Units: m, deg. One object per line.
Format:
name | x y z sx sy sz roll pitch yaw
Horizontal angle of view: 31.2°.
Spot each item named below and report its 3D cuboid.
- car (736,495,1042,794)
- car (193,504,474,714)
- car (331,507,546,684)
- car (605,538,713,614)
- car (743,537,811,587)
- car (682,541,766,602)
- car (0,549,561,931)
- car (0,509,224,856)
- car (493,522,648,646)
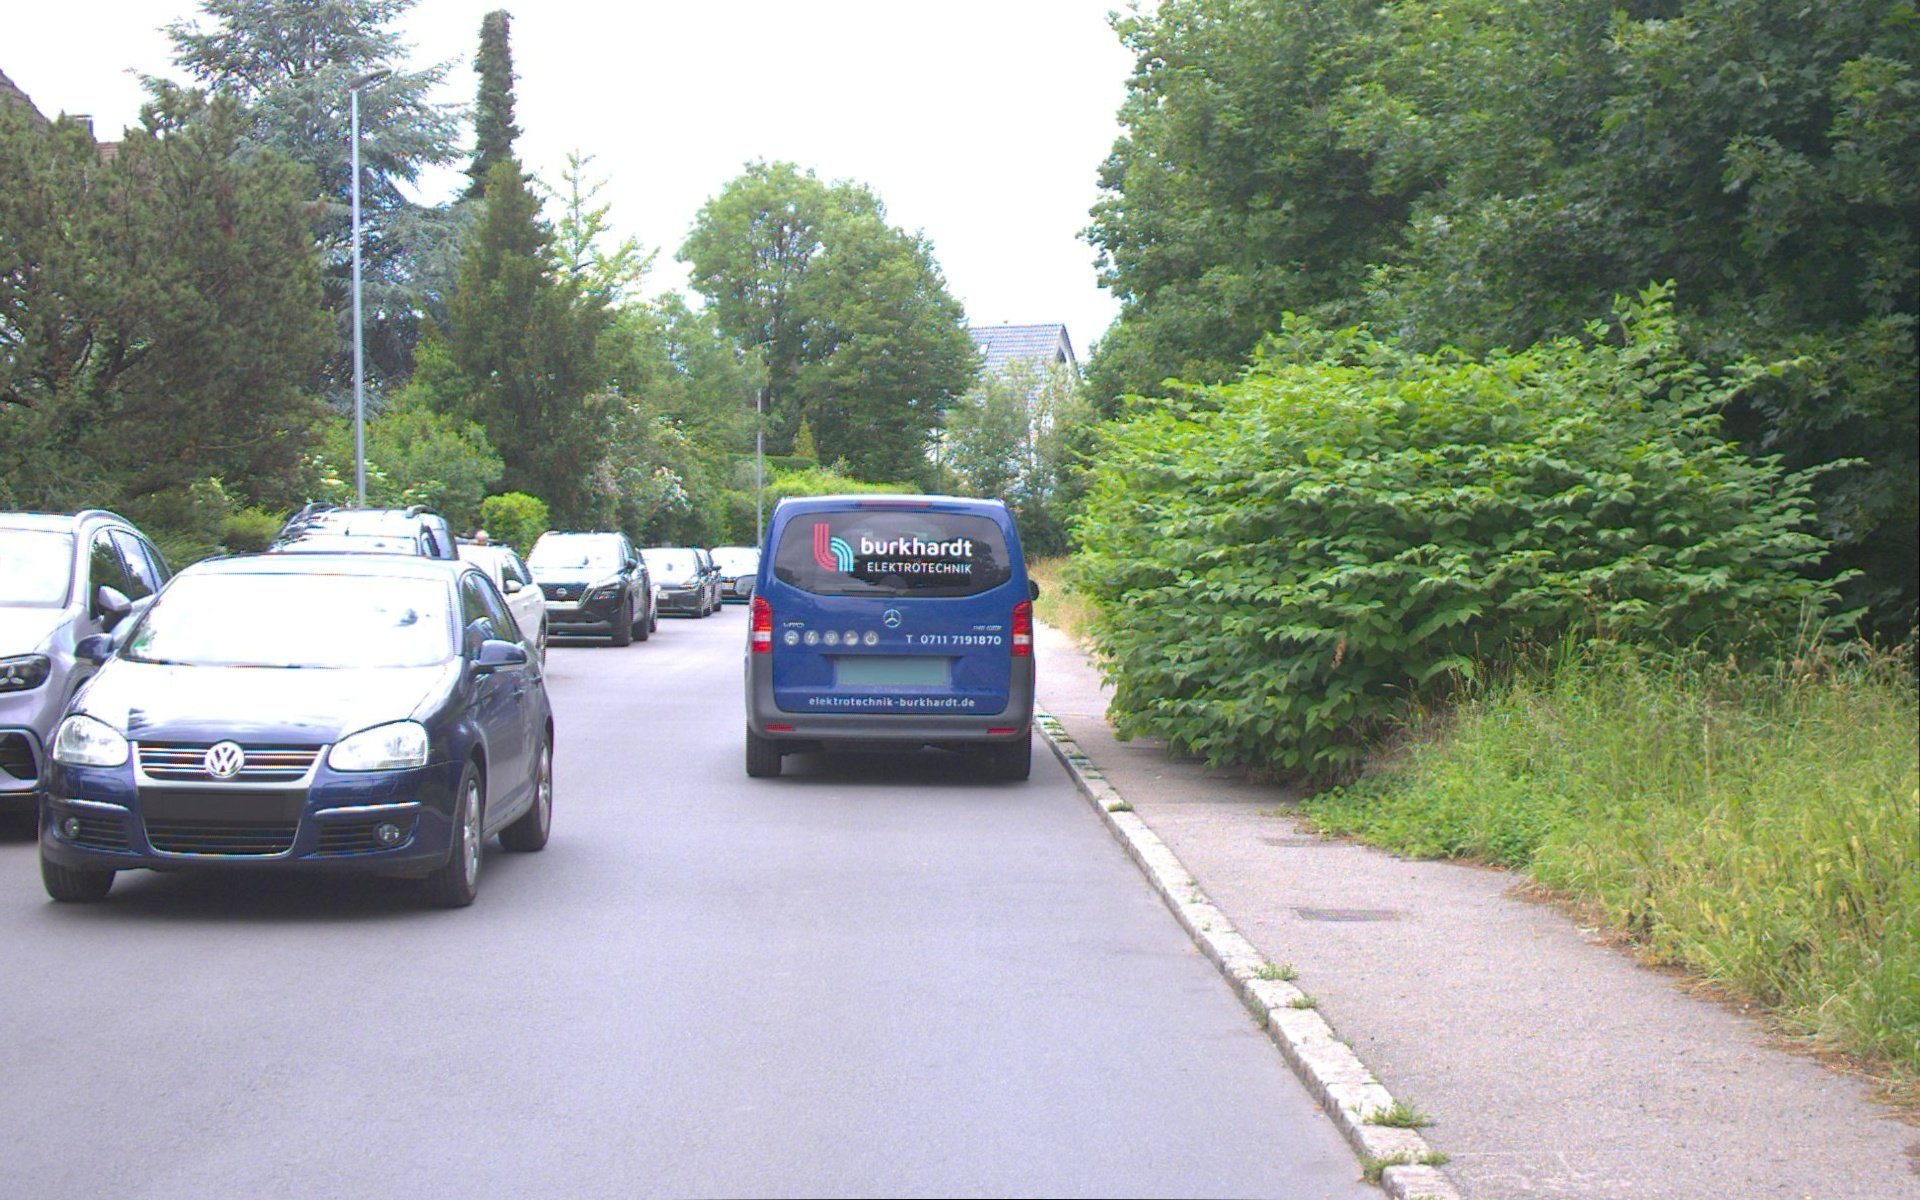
car | -0.527 0.218 23.521 1.888 1.837 4.001 1 2 -2
car | -5.588 0.026 31.124 1.832 1.745 4.000 1 1 -1
car | -5.594 -0.055 37.292 1.831 1.798 4.000 1 0 -2
car | -6.246 -0.530 71.729 1.928 1.408 3.963 1 2 -1
car | -5.702 -1.203 107.590 1.928 1.408 3.963 1 2 -1
car | -6.073 -0.750 88.956 1.928 1.408 3.963 1 2 -1
car | -2.912 0.514 15.324 1.819 1.438 4.000 1 1 -1
car | -5.270 0.333 18.227 1.836 1.625 4.301 1 1 -1
car | -5.926 -0.281 52.767 1.892 1.686 4.550 1 2 -1
